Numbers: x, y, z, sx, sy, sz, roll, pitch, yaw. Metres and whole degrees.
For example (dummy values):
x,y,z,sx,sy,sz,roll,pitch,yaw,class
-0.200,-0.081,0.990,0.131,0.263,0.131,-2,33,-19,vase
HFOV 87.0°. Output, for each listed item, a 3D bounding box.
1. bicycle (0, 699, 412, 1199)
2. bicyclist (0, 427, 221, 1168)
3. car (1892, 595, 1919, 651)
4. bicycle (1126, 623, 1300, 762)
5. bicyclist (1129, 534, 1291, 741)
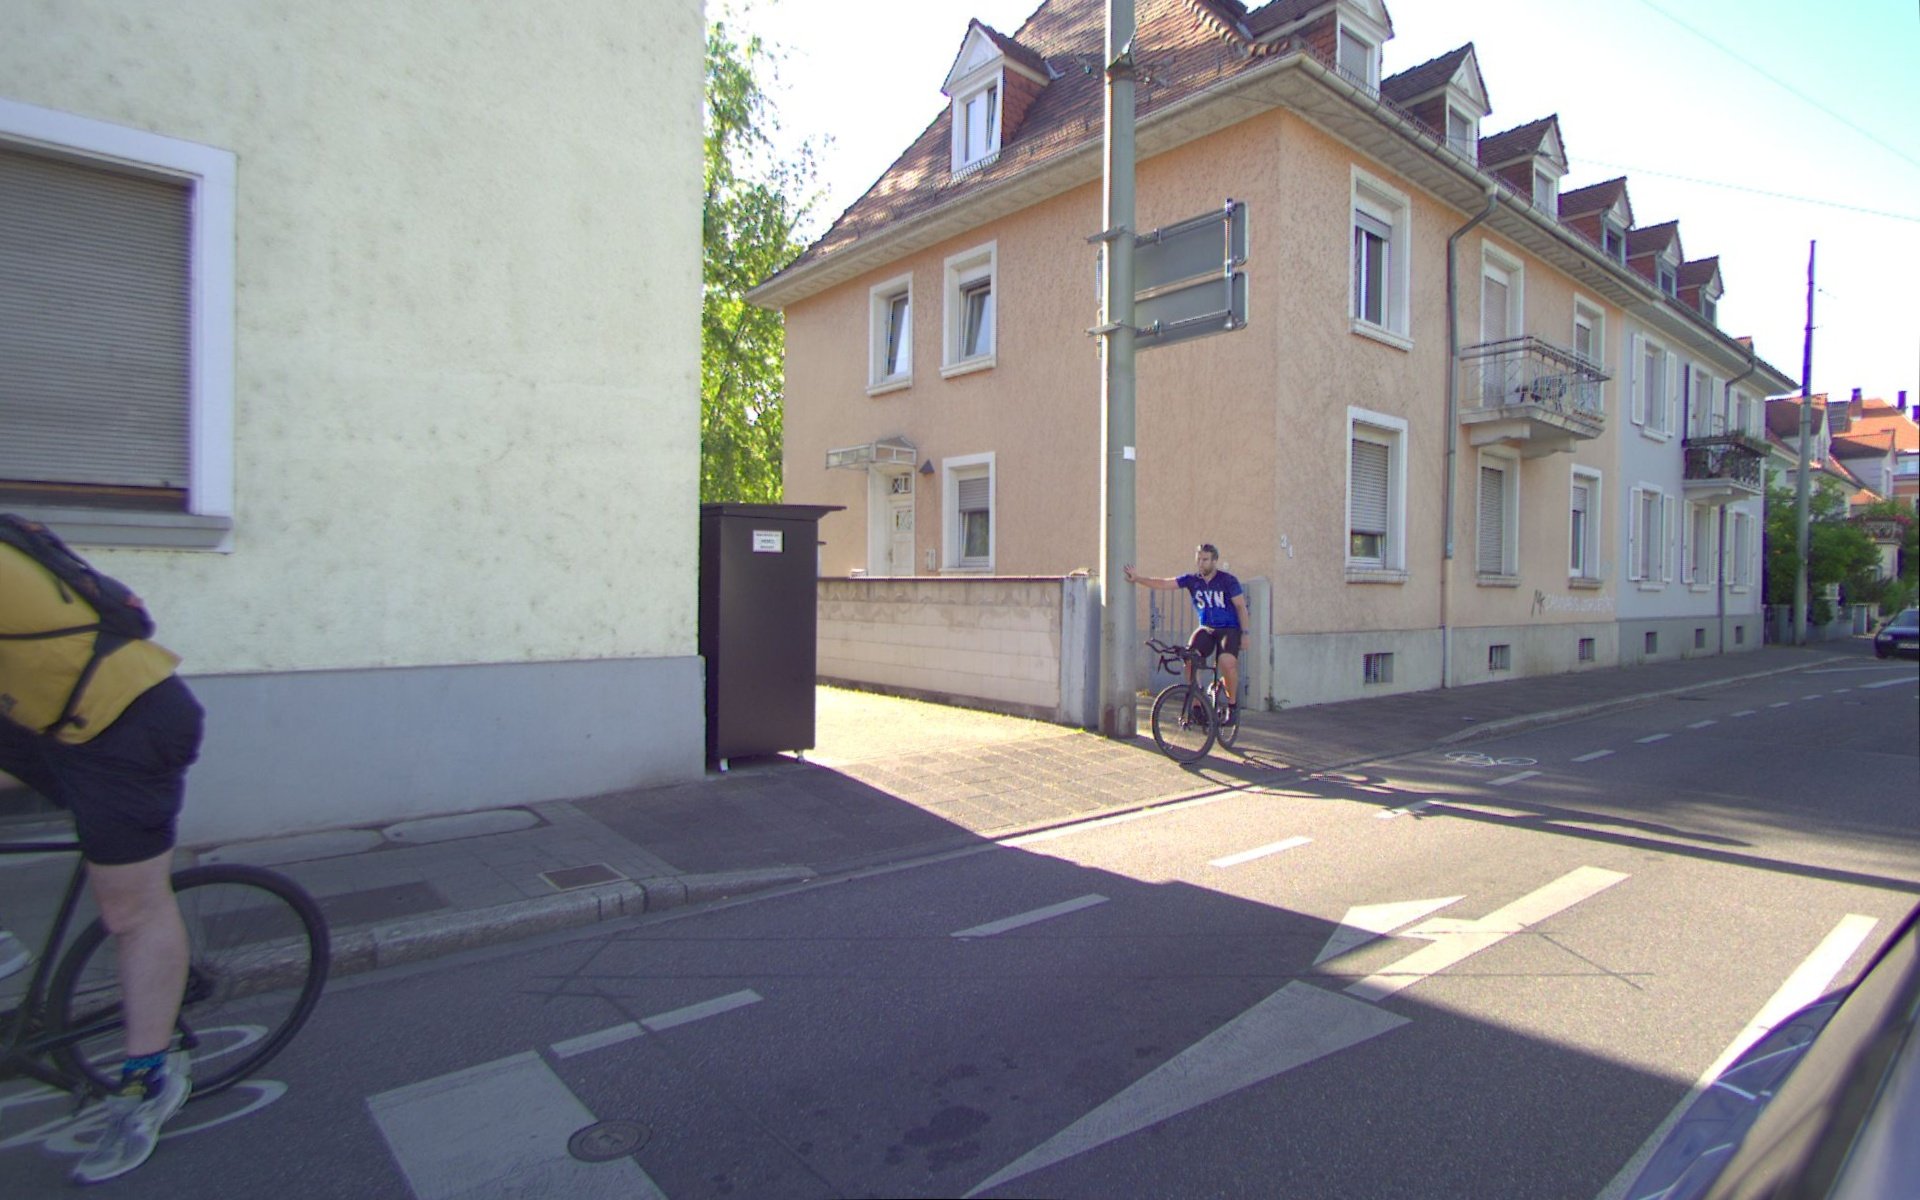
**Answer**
x,y,z,sx,sy,sz,roll,pitch,yaw,class
-2.454,0.893,2.575,1.778,1.101,0.611,0,1,-41,bicycle
-2.482,0.461,2.564,0.939,1.743,0.582,0,0,-41,bicyclist
26.654,0.609,27.322,3.932,1.438,1.845,0,1,-42,car
2.323,0.790,9.192,1.689,1.064,0.595,0,6,-41,bicycle
2.333,0.305,9.506,0.838,1.758,1.072,0,6,-40,bicyclist
